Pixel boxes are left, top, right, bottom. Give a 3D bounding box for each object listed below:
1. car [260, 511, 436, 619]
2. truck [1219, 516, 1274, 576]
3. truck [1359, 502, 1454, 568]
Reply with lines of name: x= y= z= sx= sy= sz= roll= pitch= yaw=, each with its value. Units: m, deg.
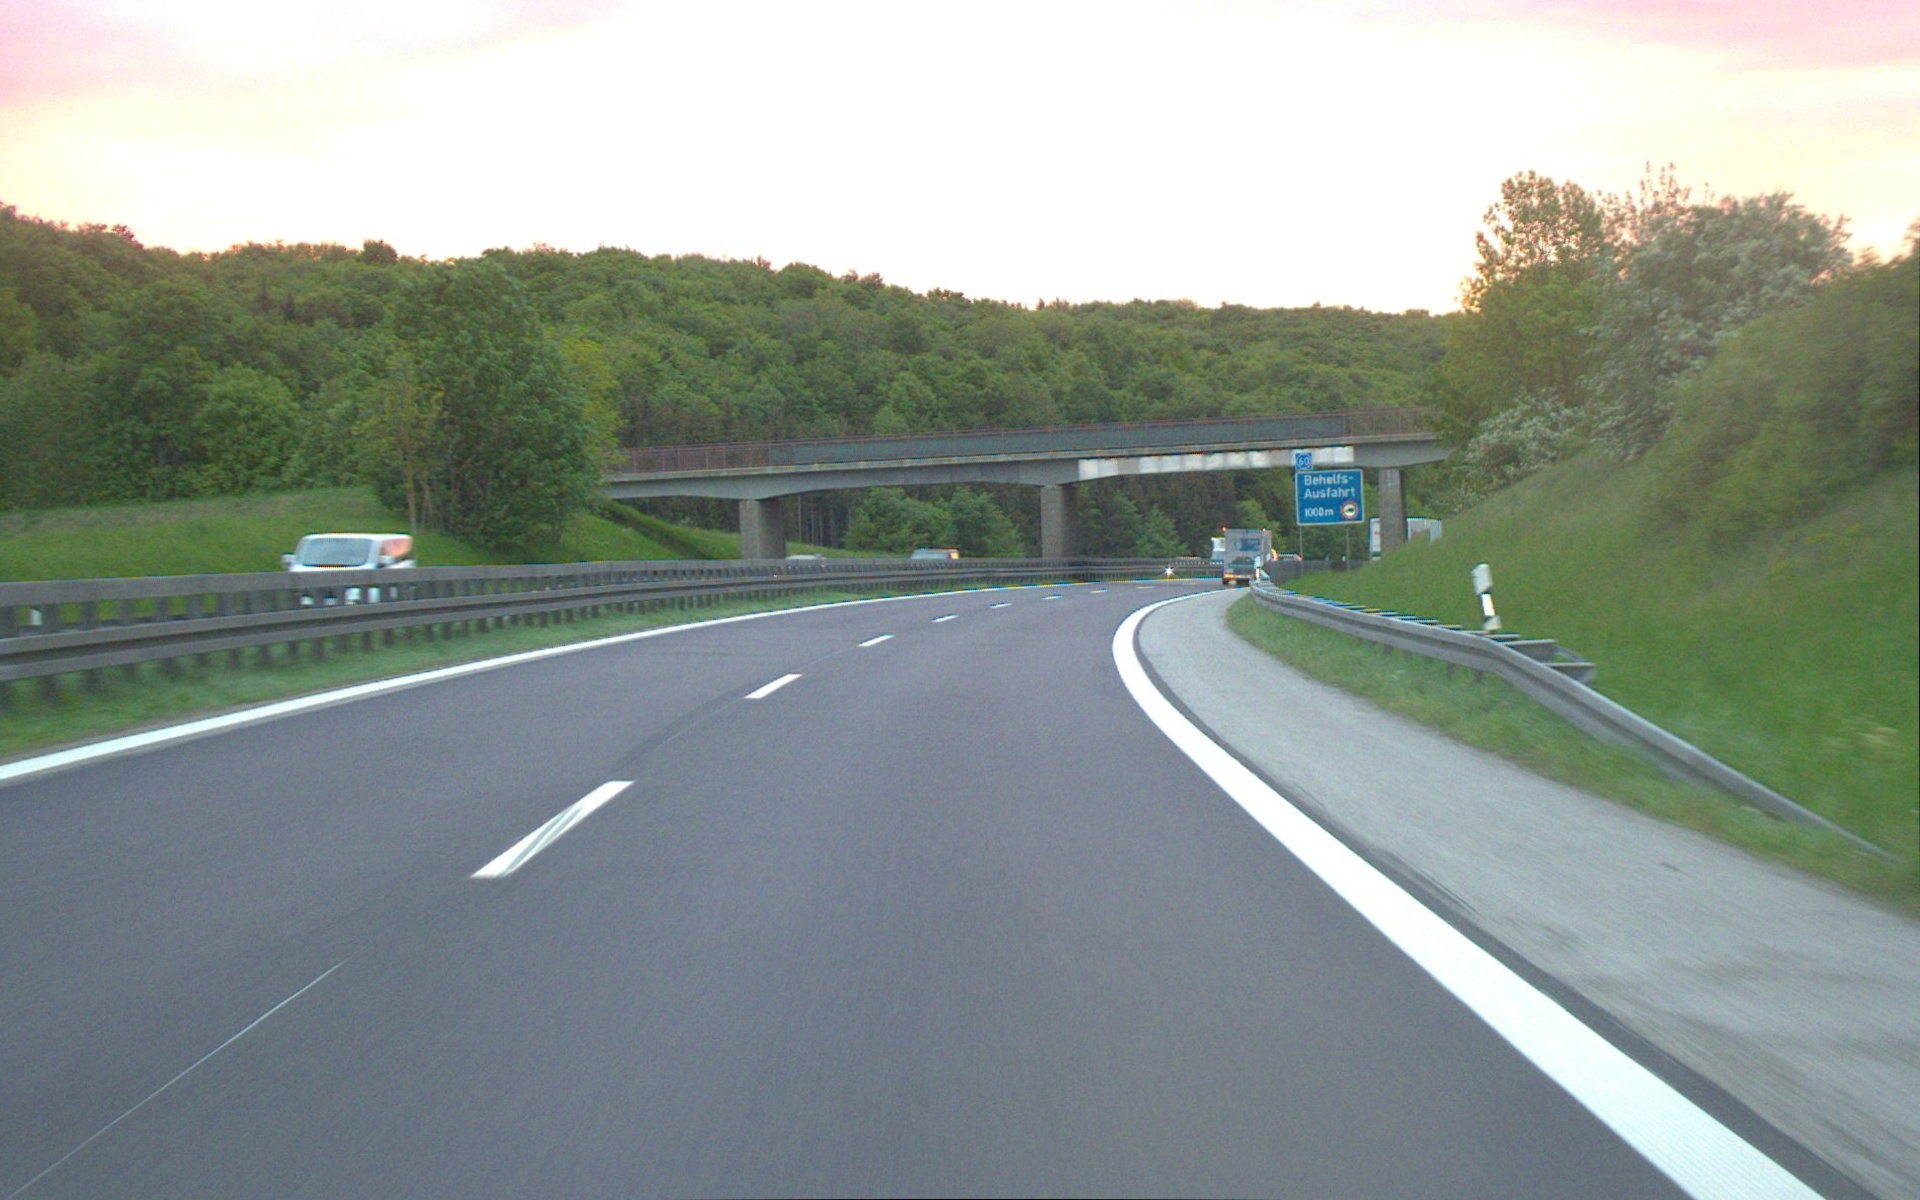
car: x=-13.239 y=-0.802 z=74.713 sx=2.282 sy=2.006 sz=5.257 roll=-6 pitch=1 yaw=5
truck: x=13.570 y=-2.569 z=162.584 sx=2.276 sy=2.656 sz=5.235 roll=-1 pitch=2 yaw=8
truck: x=29.837 y=-4.310 z=229.184 sx=3.961 sy=4.272 sz=14.312 roll=0 pitch=1 yaw=17
